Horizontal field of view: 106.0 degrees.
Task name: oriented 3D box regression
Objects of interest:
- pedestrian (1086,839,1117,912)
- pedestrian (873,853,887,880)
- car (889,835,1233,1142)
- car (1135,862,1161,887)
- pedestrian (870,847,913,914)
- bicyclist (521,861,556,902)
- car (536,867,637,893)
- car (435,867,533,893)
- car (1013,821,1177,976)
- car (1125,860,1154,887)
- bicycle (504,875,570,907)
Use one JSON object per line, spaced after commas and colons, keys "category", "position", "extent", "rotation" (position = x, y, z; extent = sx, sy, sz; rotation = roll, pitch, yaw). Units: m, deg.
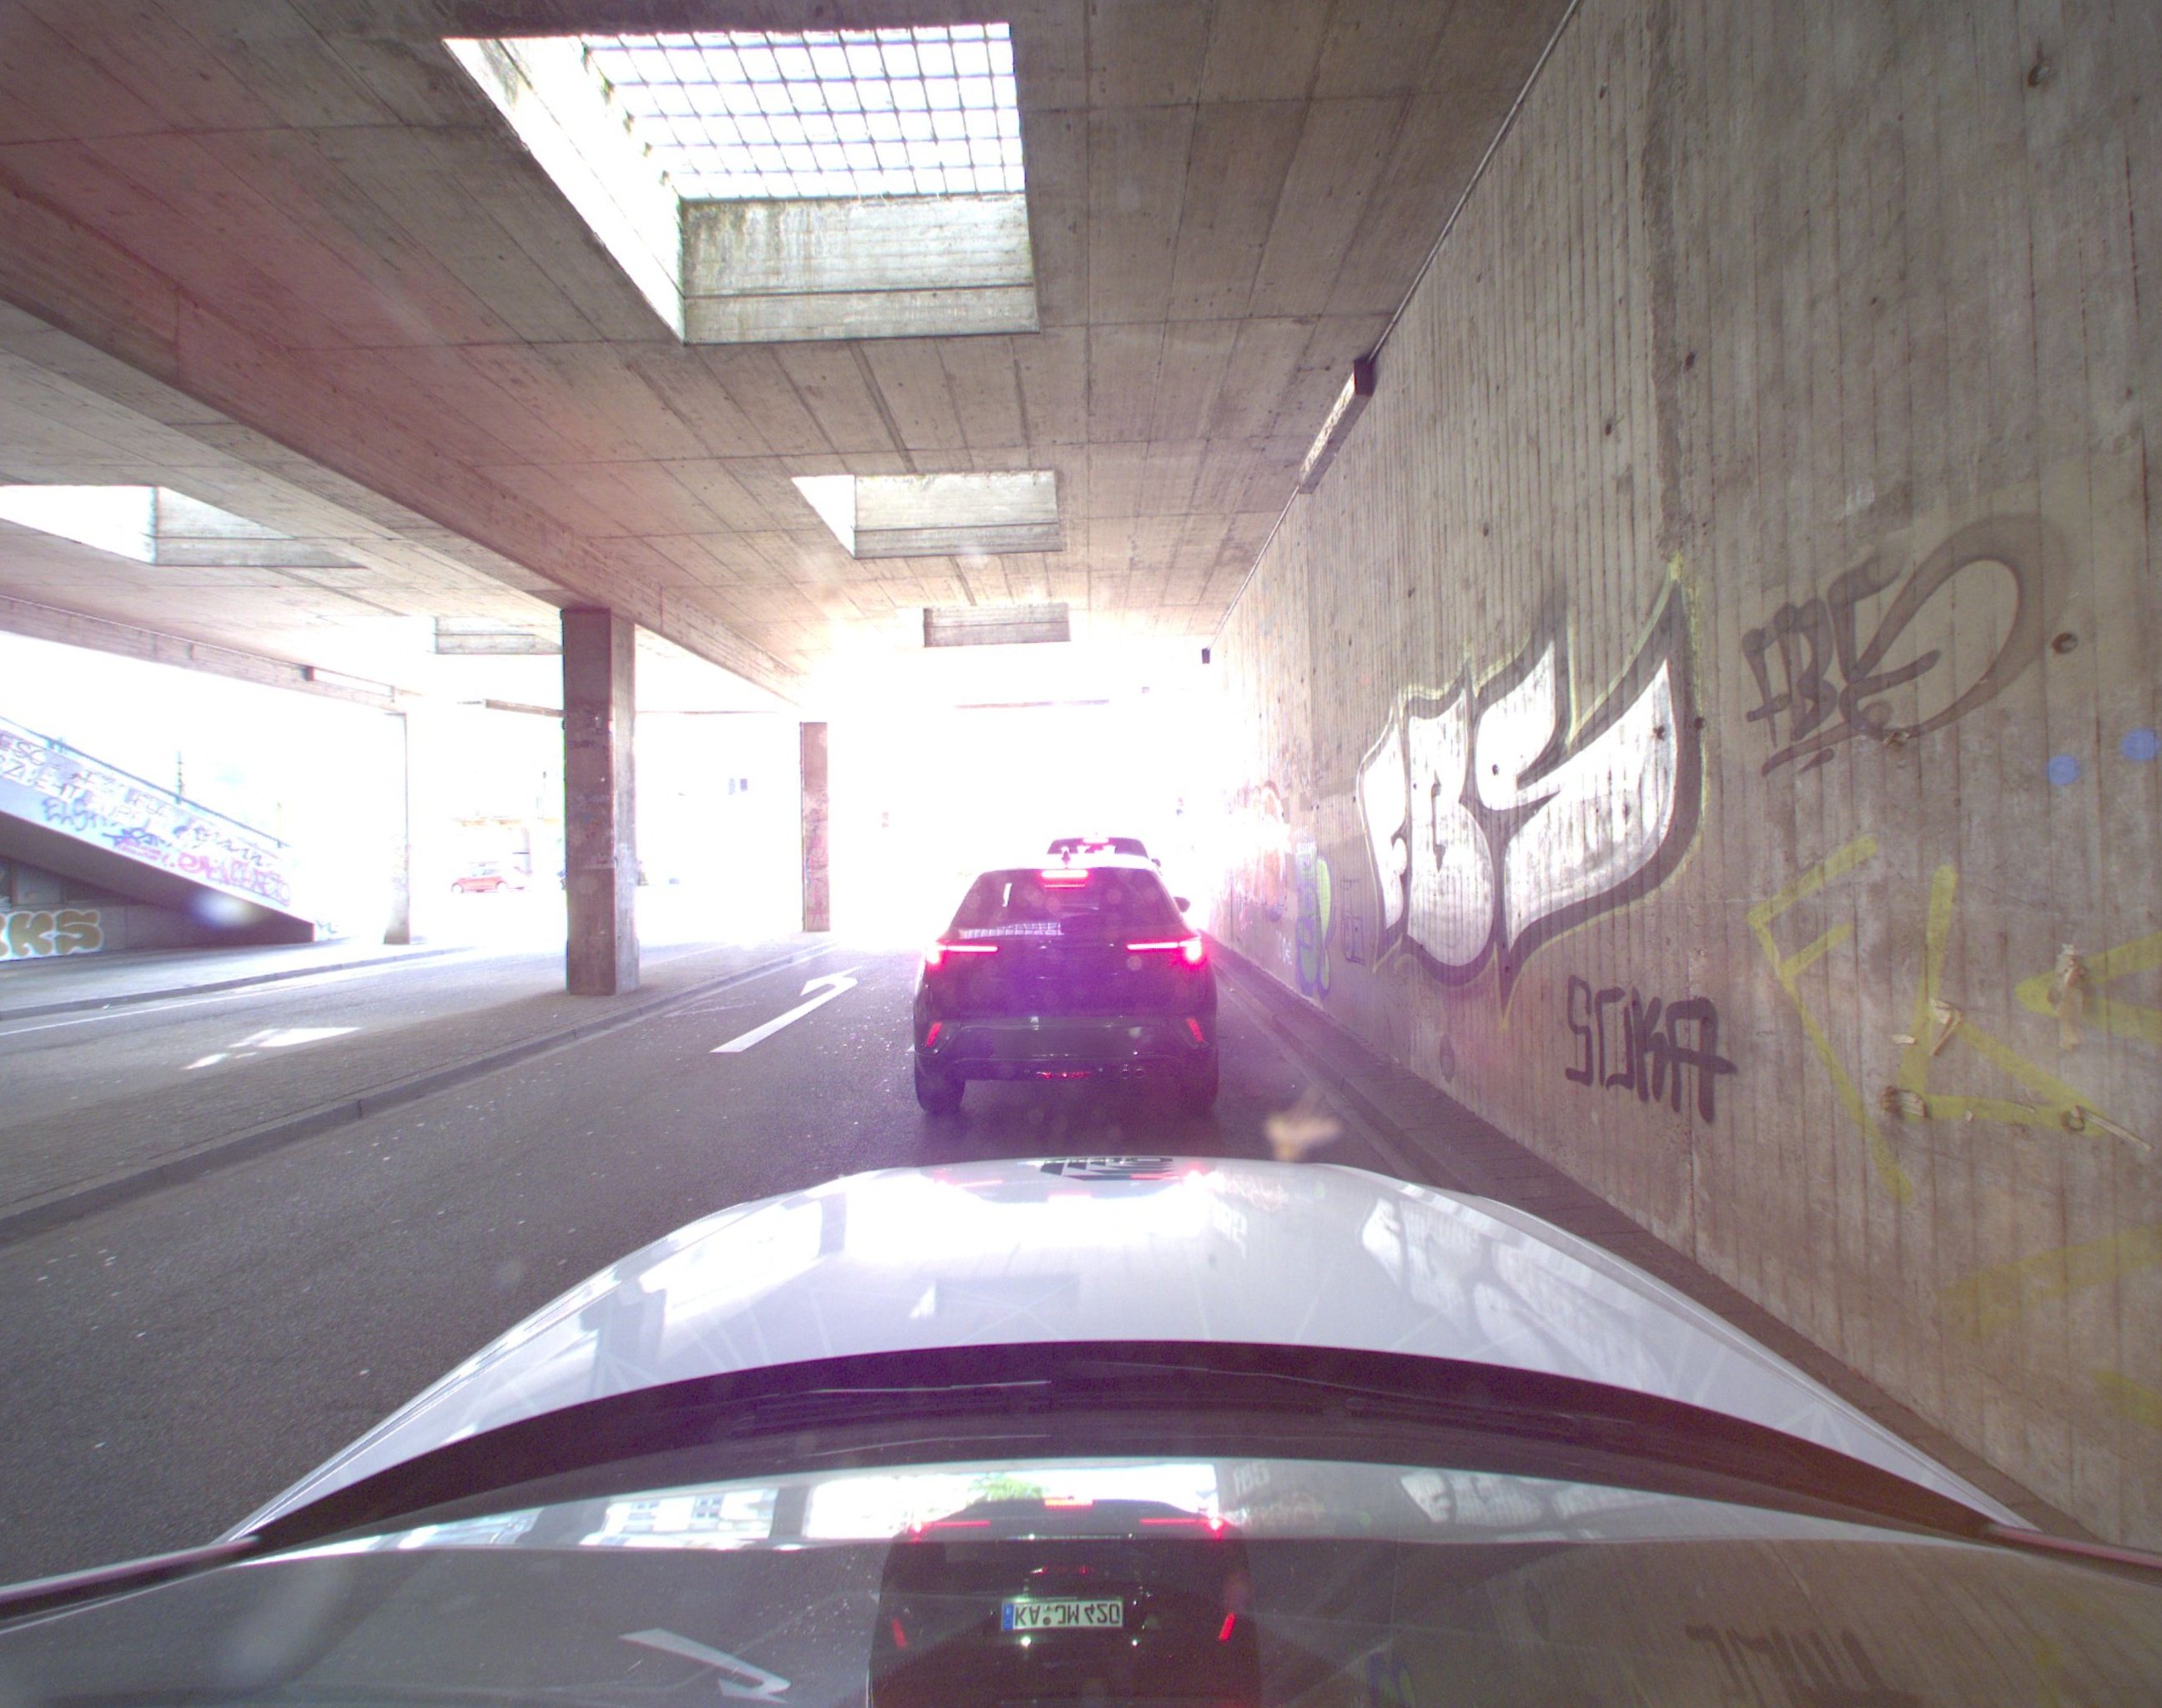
{"category": "pedestrian", "position": [0.500, 0.522, 20.039], "extent": [0.728, 1.734, 0.874], "rotation": [0, -1, 1]}
{"category": "pedestrian", "position": [-12.345, 0.777, 50.095], "extent": [0.669, 1.637, 0.741], "rotation": [0, -1, 1]}
{"category": "car", "position": [-0.038, 0.656, 6.179], "extent": [1.758, 1.571, 4.002], "rotation": [0, 1, 2]}
{"category": "car", "position": [5.659, 1.687, 68.507], "extent": [1.983, 1.970, 4.172], "rotation": [0, -1, 7]}
{"category": "pedestrian", "position": [-5.105, 0.702, 22.018], "extent": [0.925, 1.762, 0.795], "rotation": [0, -1, 3]}
{"category": "bicyclist", "position": [-19.521, 0.967, 29.291], "extent": [0.733, 1.423, 0.686], "rotation": [-3, -1, 8]}
{"category": "car", "position": [-27.388, 1.427, 45.240], "extent": [4.393, 1.409, 1.925], "rotation": [0, -1, -1]}
{"category": "car", "position": [-33.089, 1.431, 45.229], "extent": [3.975, 1.409, 1.925], "rotation": [0, -1, -1]}
{"category": "car", "position": [0.235, 0.546, 12.097], "extent": [1.986, 1.871, 4.002], "rotation": [-2, 0, 2]}
{"category": "car", "position": [4.519, 1.447, 62.339], "extent": [1.983, 1.970, 4.172], "rotation": [0, -1, 7]}
{"category": "bicycle", "position": [-19.551, 1.328, 29.298], "extent": [1.978, 1.050, 0.720], "rotation": [-2, -1, 8]}
